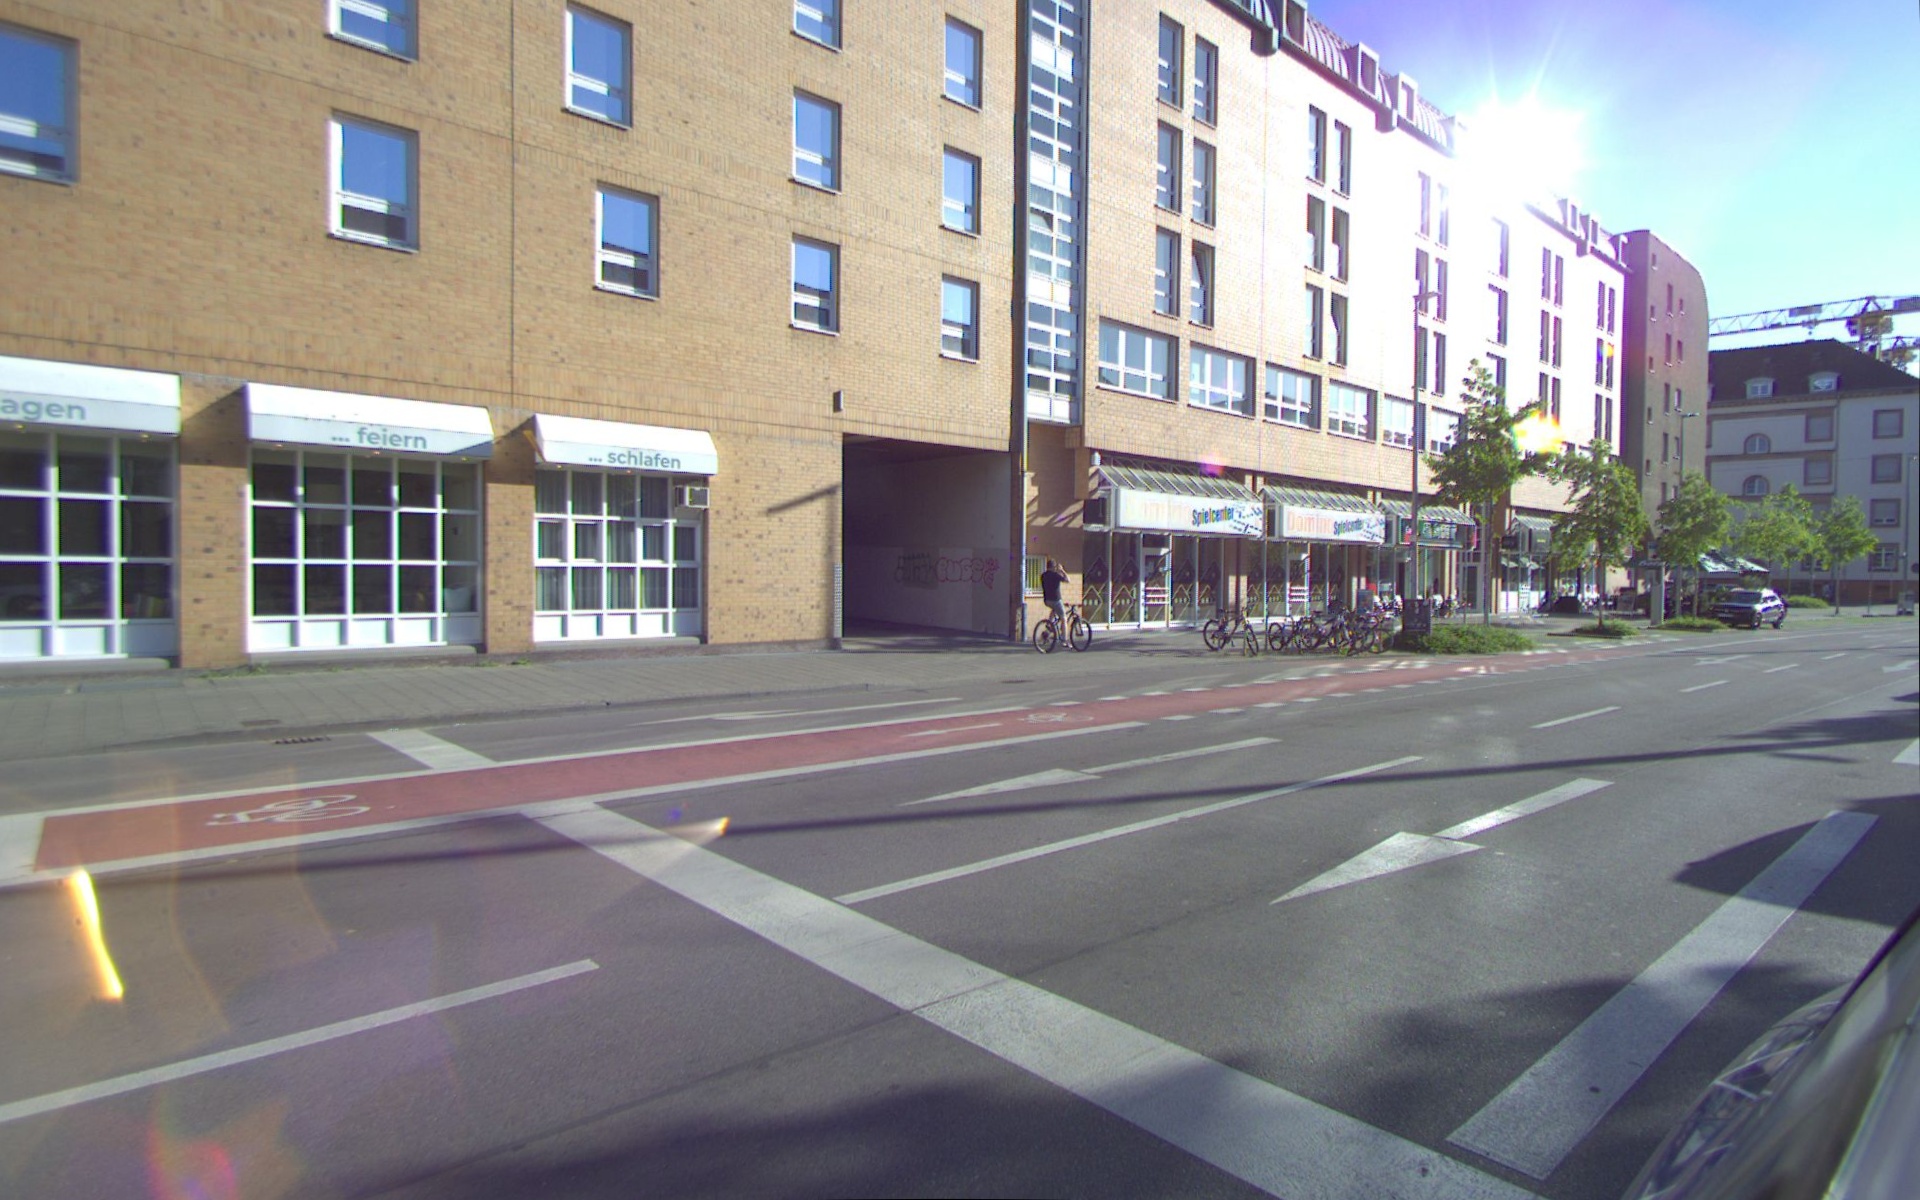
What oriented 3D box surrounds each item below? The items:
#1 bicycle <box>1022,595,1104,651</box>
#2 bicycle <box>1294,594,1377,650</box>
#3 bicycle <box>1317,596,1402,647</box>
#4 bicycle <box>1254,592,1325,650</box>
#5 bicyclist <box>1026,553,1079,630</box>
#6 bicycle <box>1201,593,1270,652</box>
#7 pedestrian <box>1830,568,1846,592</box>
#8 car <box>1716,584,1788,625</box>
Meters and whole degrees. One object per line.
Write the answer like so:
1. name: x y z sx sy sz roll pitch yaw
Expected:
1. bicycle: 2.188 0.456 21.356 1.850 1.062 0.602 -1 6 -43
2. bicycle: 8.699 0.481 23.492 0.543 1.155 1.775 -2 4 -38
3. bicycle: 9.582 0.498 24.342 0.724 1.084 1.775 -2 4 -38
4. bicycle: 7.474 0.451 23.013 0.541 1.162 1.780 -1 3 -20
5. bicyclist: 1.926 -0.182 21.053 0.836 1.533 0.580 0 5 -44
6. bicycle: 6.110 0.476 22.535 0.541 1.162 1.780 -1 3 -20
7. pedestrian: 63.621 -1.442 73.327 0.801 1.687 0.877 2 1 43
8. car: 32.653 0.155 41.702 3.628 1.549 1.654 -1 1 -41
